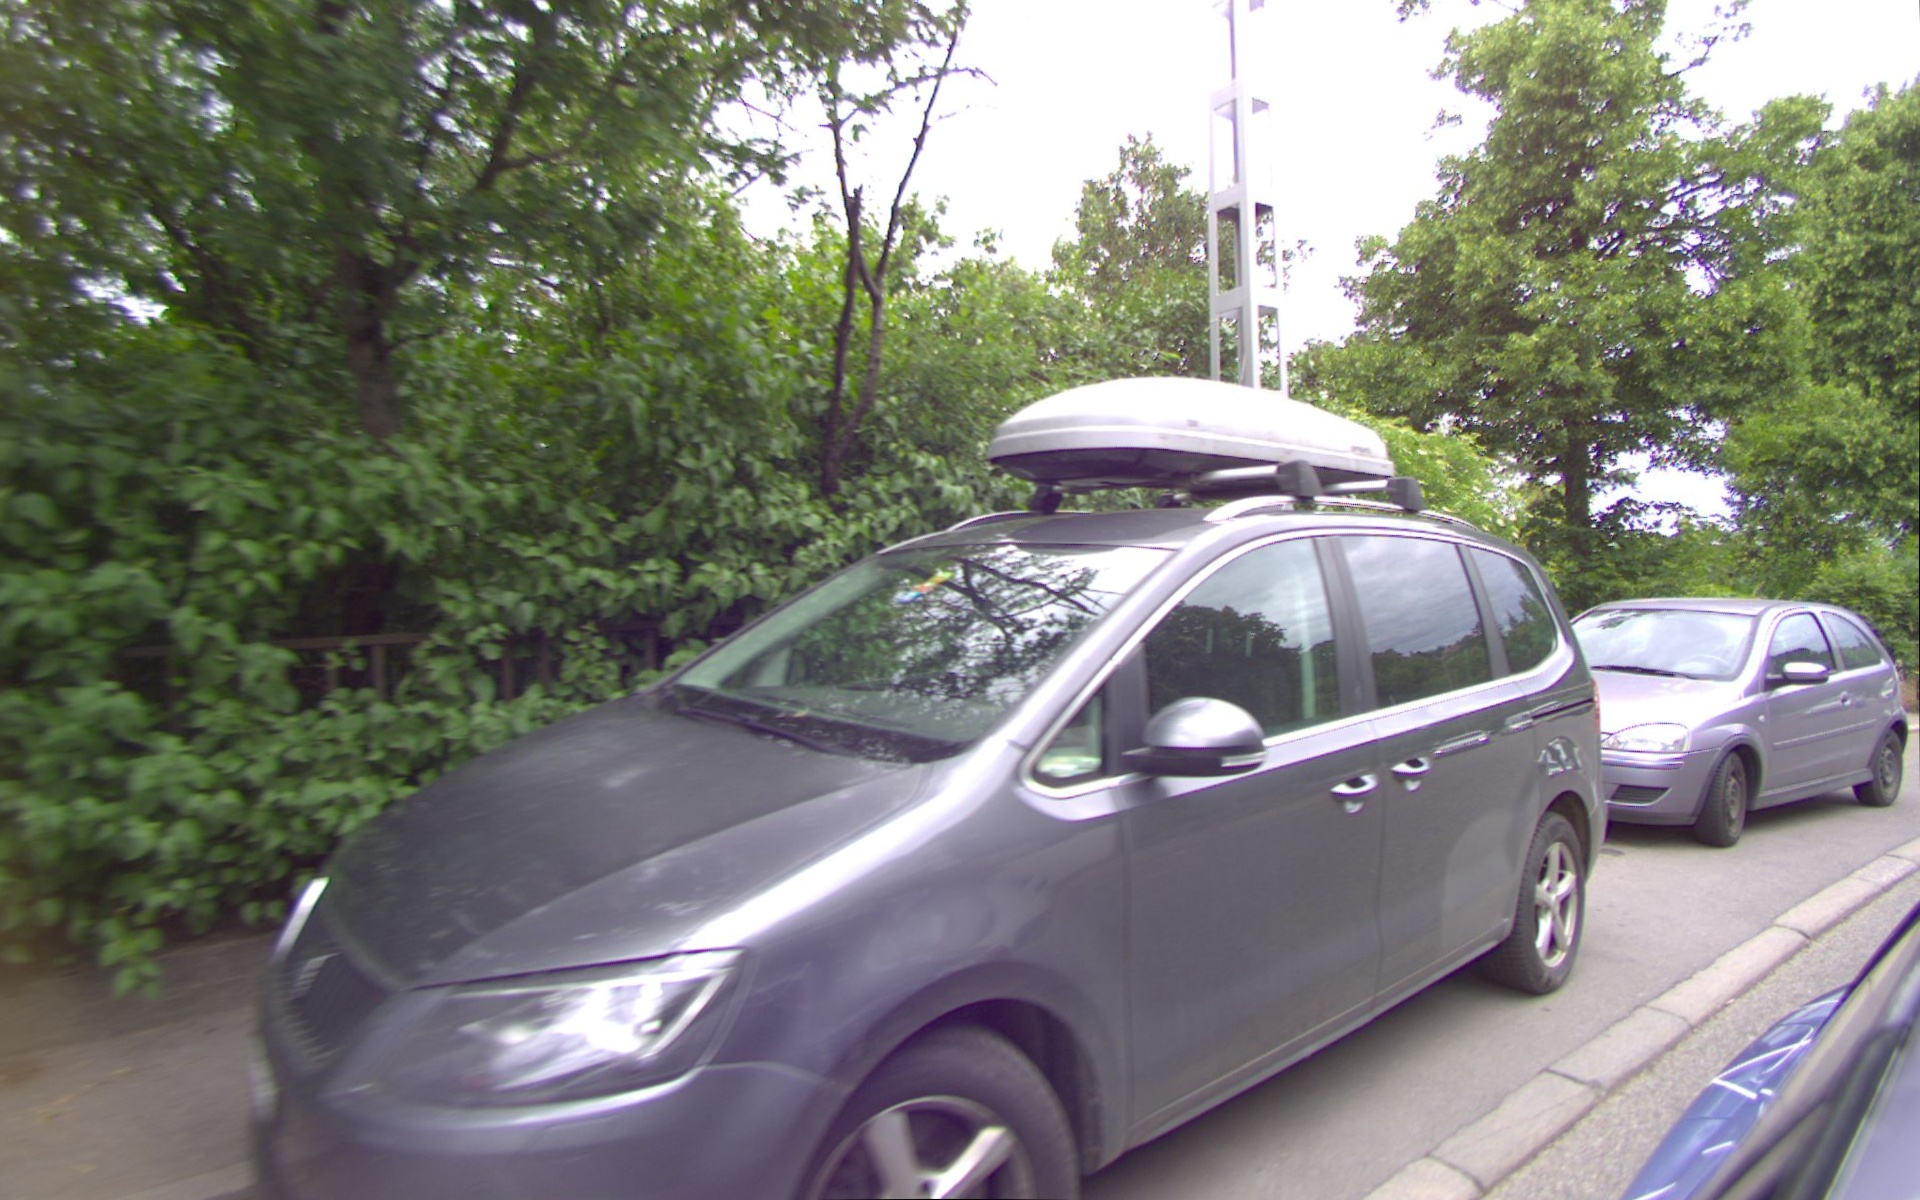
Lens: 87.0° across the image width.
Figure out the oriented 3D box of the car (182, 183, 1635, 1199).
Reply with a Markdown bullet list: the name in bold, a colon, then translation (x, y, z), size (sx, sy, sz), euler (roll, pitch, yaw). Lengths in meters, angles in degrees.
- **car**: translation (0.410, 0.450, 3.251), size (4.527, 1.794, 1.801), euler (0, 0, -41)

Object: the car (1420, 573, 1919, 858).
- **car**: translation (5.142, 0.604, 6.999), size (3.920, 1.482, 1.648), euler (0, 0, -31)

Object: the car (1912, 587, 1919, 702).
- **car**: translation (14.024, 0.586, 12.933), size (3.922, 1.435, 1.784), euler (0, 2, -33)
